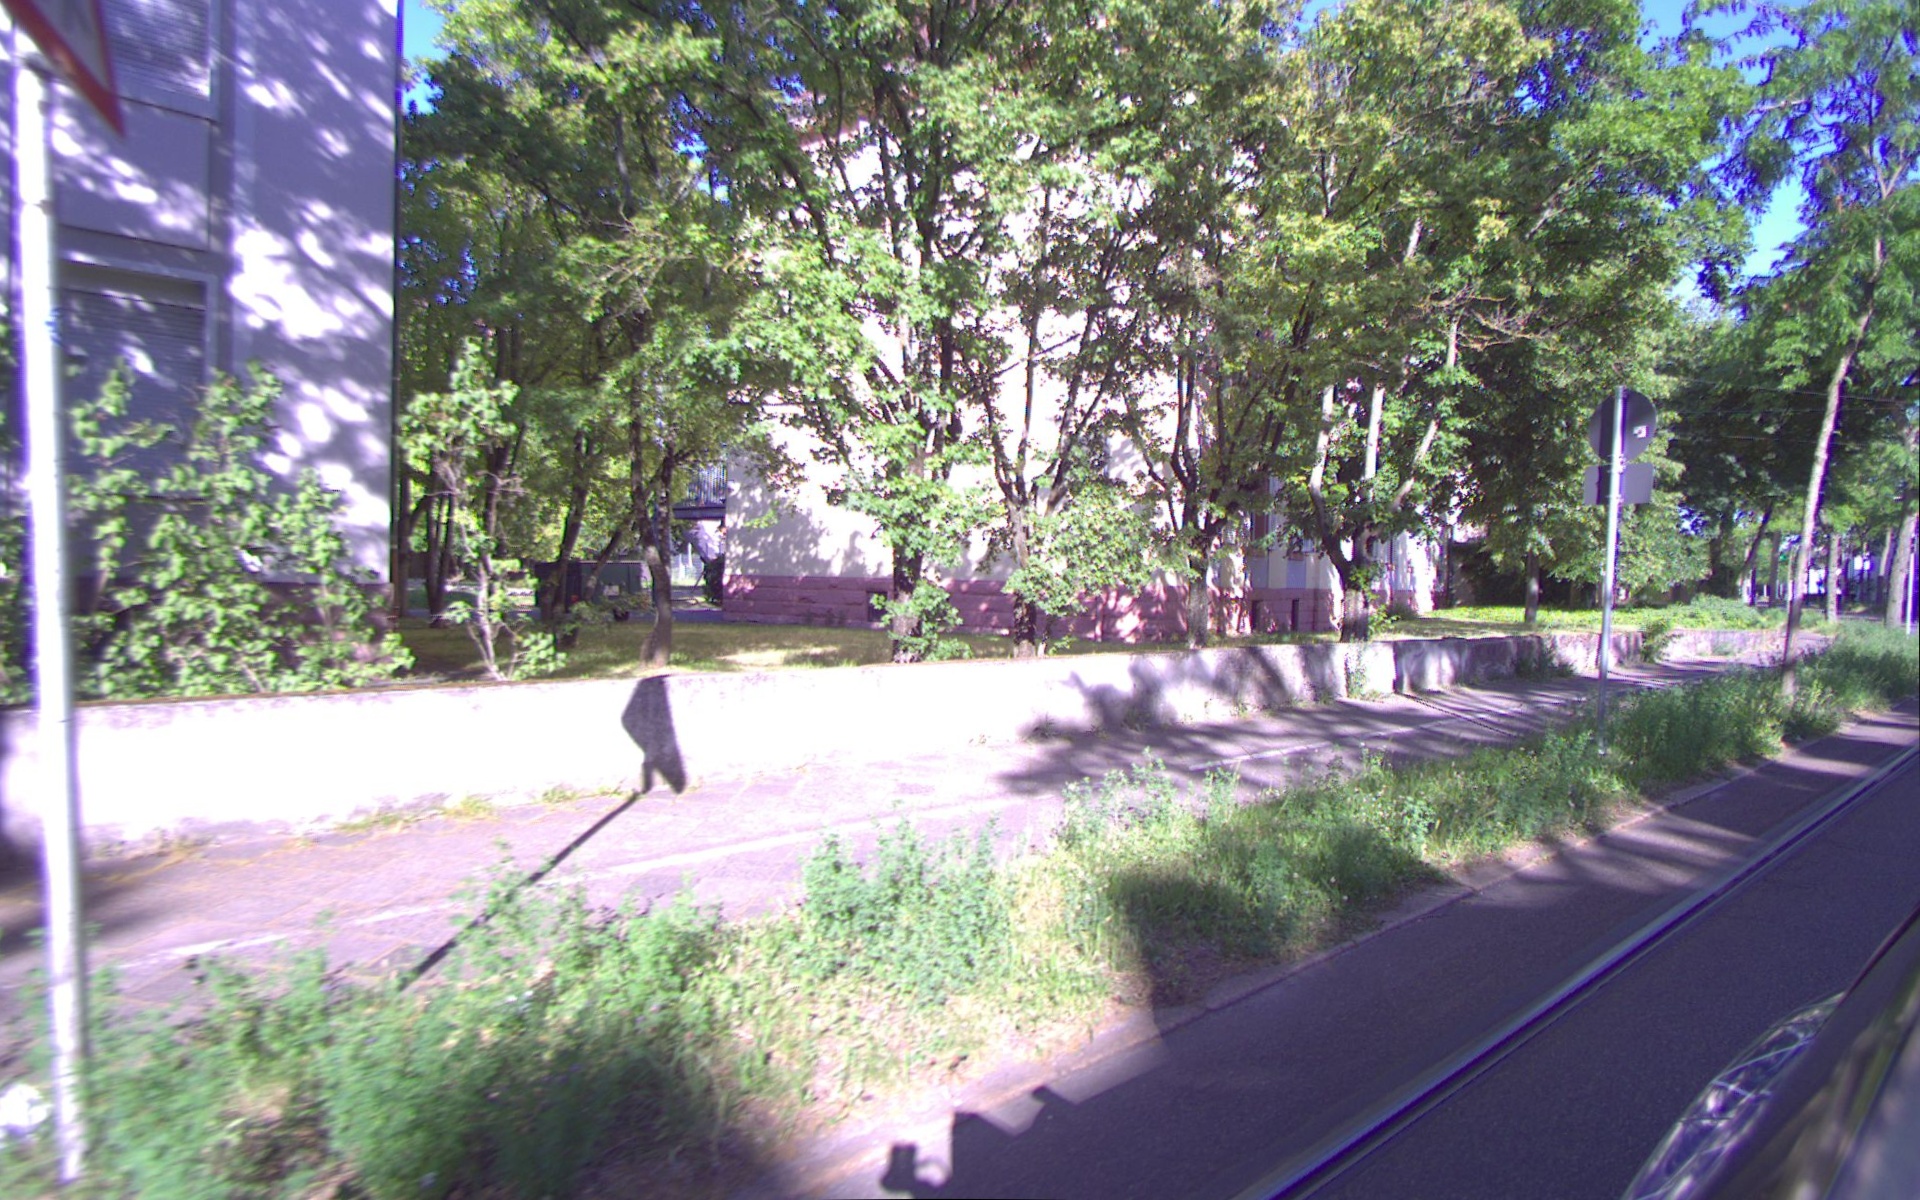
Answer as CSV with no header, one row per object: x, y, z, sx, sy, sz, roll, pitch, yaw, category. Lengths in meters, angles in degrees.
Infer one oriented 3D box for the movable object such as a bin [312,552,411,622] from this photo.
-13.322,-0.264,22.491,1.462,1.461,2.227,0,-1,-43,movable object such as a bin
